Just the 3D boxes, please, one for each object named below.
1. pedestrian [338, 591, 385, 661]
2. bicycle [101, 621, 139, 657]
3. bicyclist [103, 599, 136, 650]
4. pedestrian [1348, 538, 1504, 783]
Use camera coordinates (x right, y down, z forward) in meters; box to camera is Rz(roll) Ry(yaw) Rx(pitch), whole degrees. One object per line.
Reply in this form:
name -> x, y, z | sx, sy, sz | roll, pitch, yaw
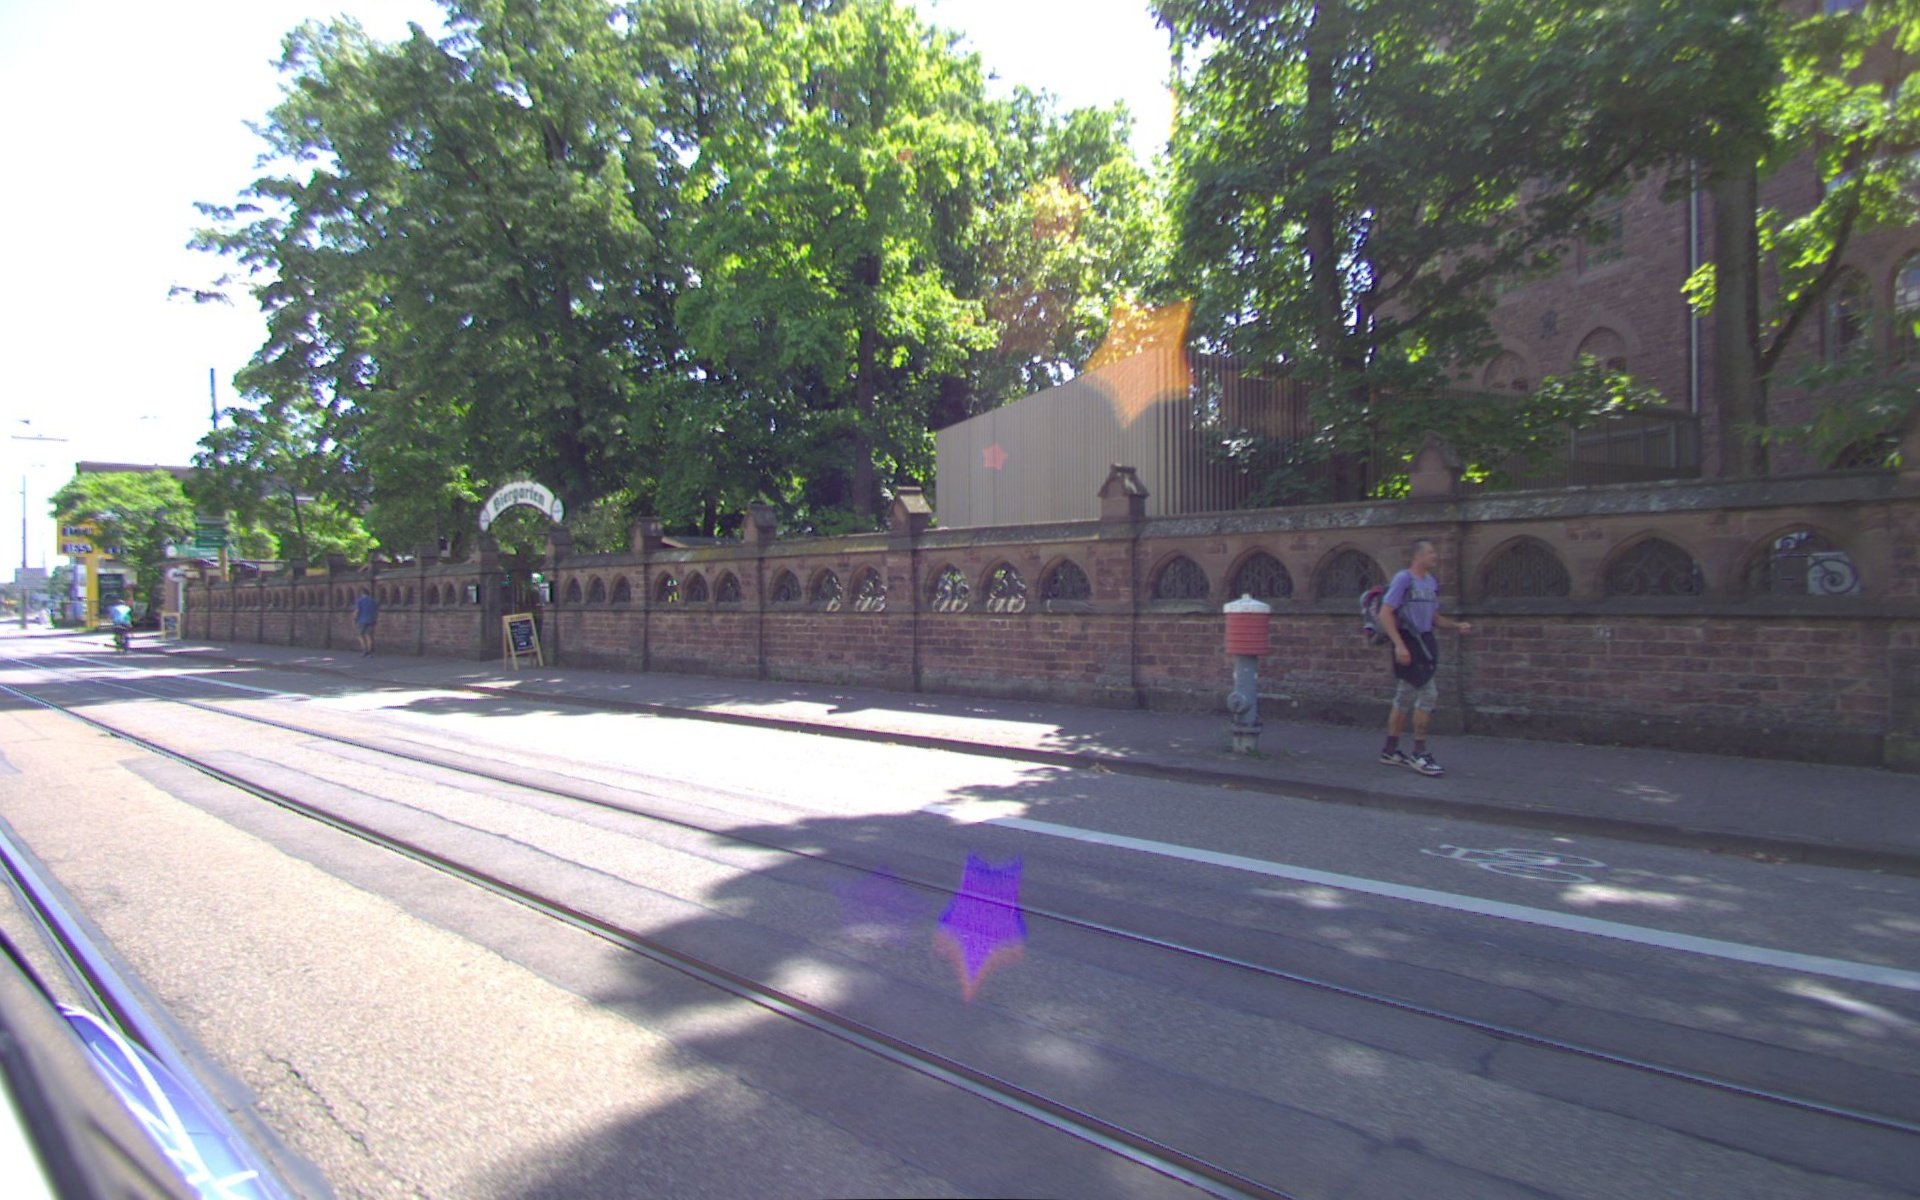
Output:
pedestrian -> -15.646, 0.659, 26.466 | 0.919, 1.761, 0.741 | -1, 2, 41
bicycle -> -27.677, 1.277, 33.336 | 1.895, 1.172, 0.652 | -1, -2, 41
bicyclist -> -27.774, 0.815, 33.445 | 0.919, 1.637, 0.656 | -1, -3, 41
pedestrian -> 3.690, 0.436, 8.014 | 0.919, 1.805, 0.714 | -1, 2, 41
